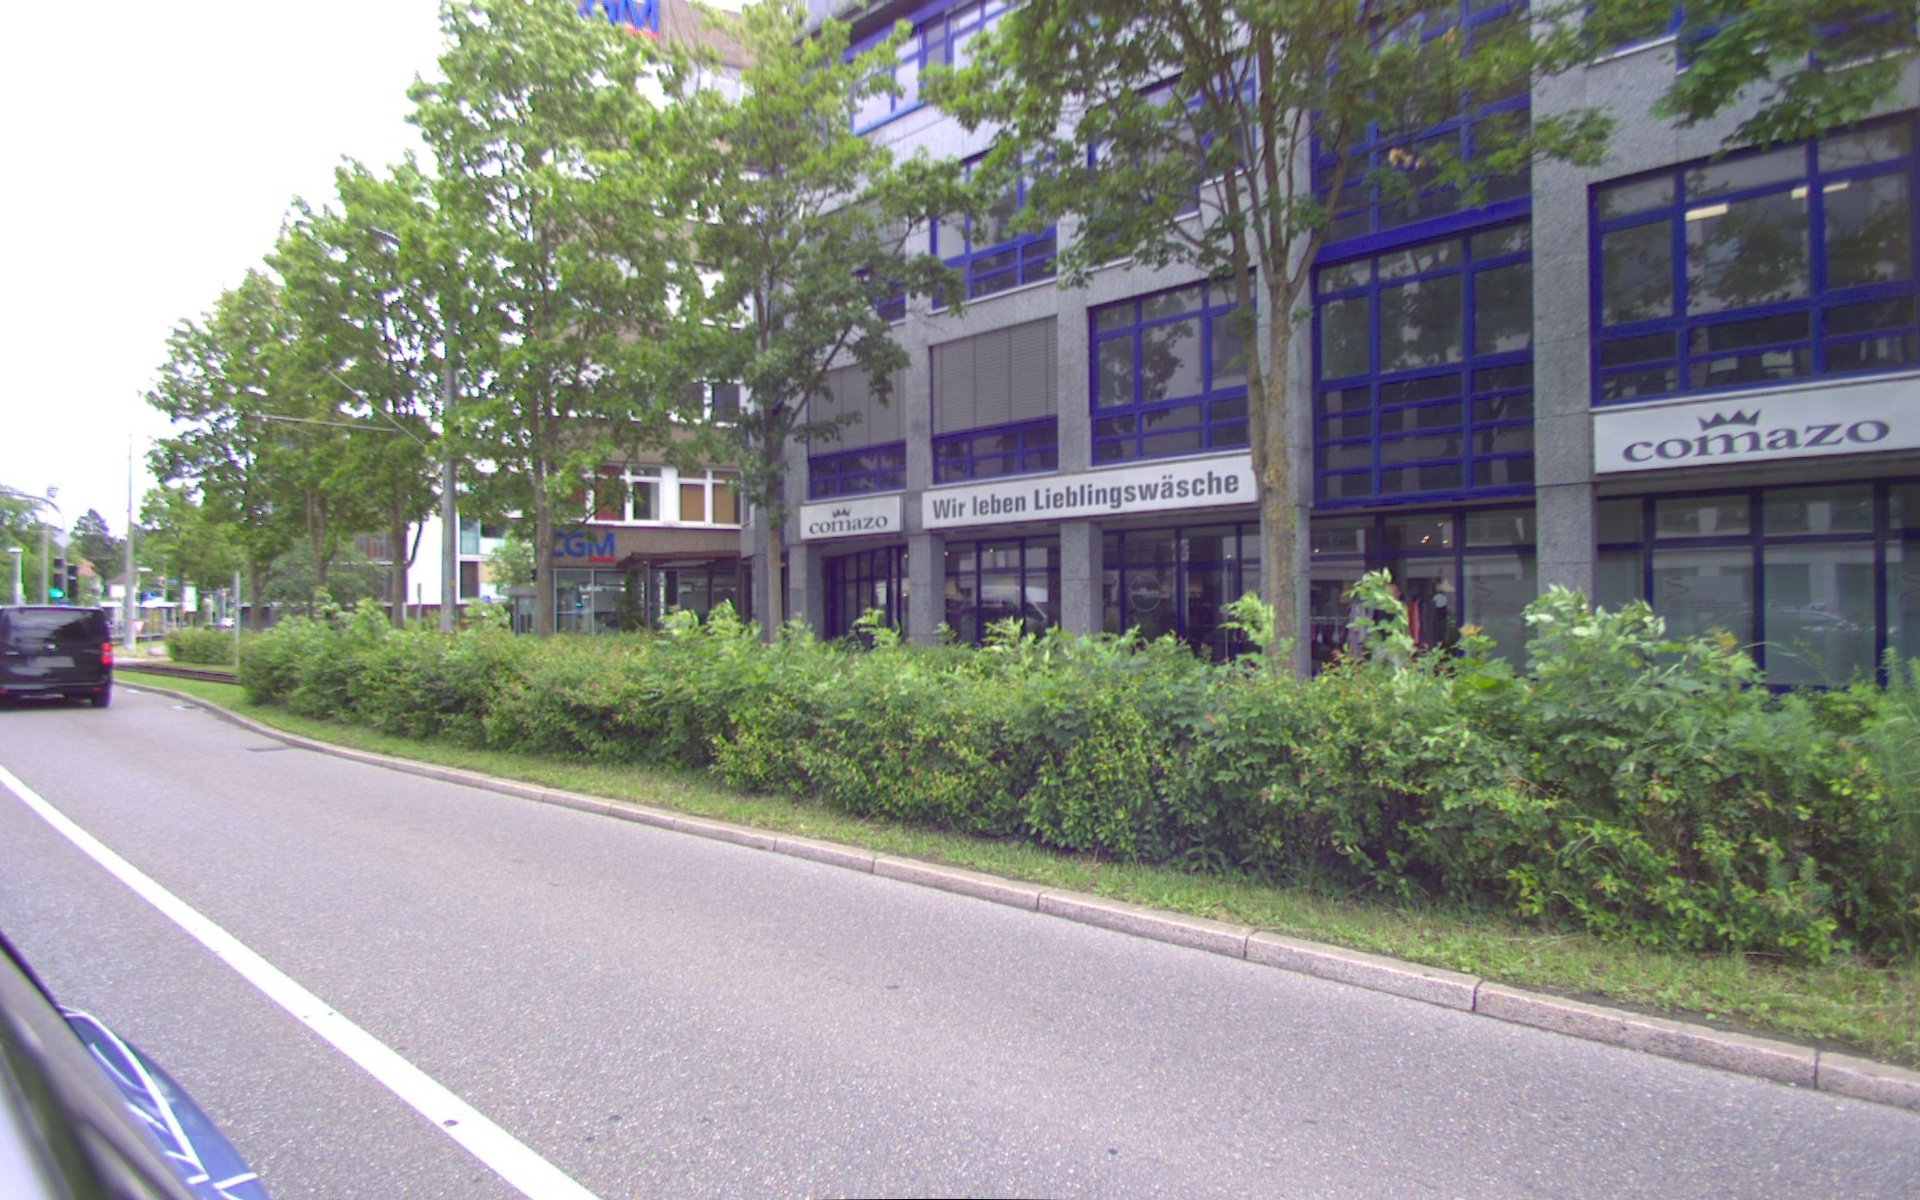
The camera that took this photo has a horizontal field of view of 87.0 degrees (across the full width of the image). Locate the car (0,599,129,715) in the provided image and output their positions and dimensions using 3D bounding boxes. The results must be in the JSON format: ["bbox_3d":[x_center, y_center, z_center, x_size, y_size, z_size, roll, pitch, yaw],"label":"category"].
[{"bbox_3d":[-17.587,0.999,19.241,4.734,1.962,1.973,-1,-2,41],"label":"car"}]

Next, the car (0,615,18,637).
[{"bbox_3d":[-90.299,2.415,94.791,1.965,2.029,4.013,0,0,-25],"label":"car"}]

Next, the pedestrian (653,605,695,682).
[{"bbox_3d":[-6.937,1.034,24.588,0.730,1.819,0.672,-1,0,36],"label":"pedestrian"}]

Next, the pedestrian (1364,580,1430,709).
[{"bbox_3d":[6.683,0.661,15.460,0.731,1.908,0.766,-1,0,40],"label":"pedestrian"}]

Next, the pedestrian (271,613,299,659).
[{"bbox_3d":[-28.761,1.512,43.127,0.731,1.938,0.805,-1,0,40],"label":"pedestrian"}]
